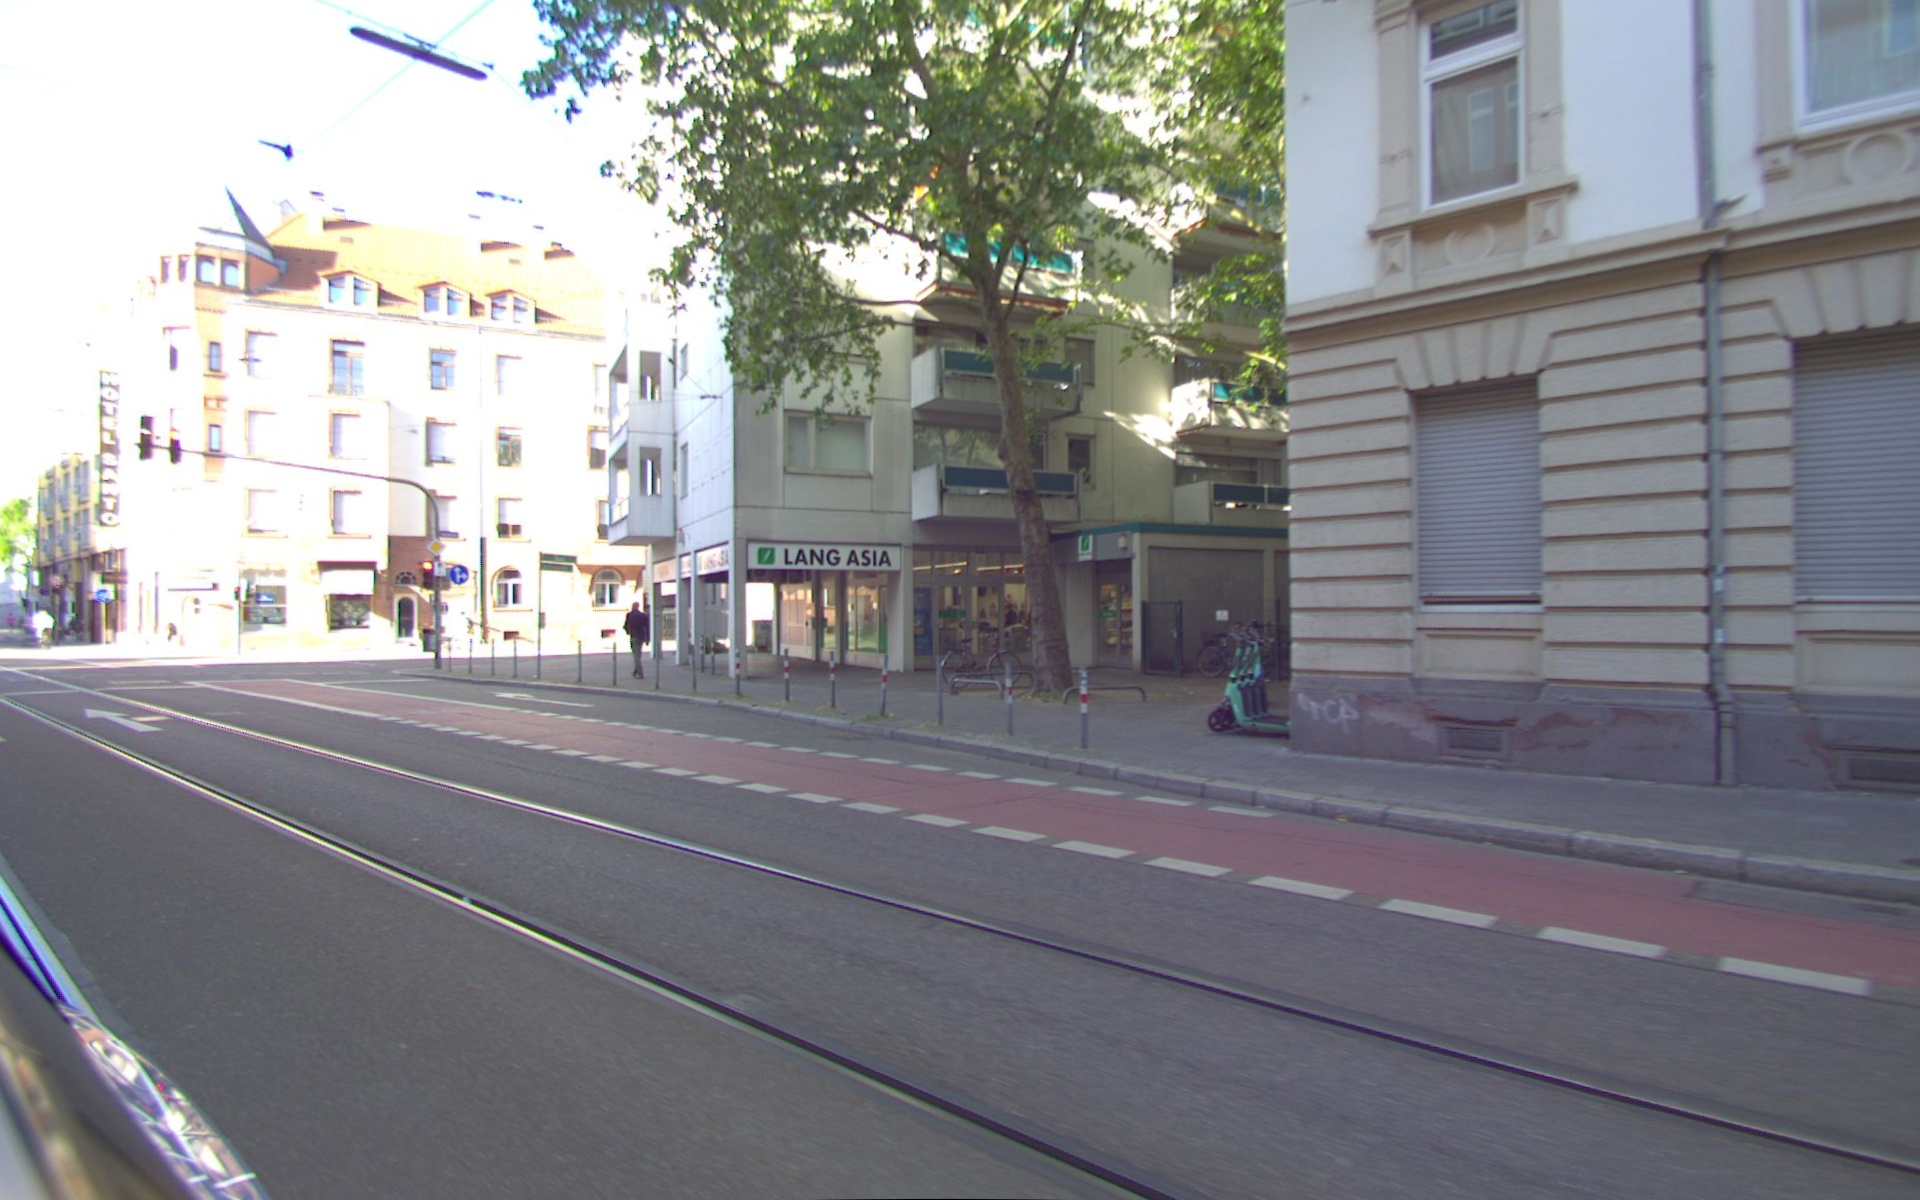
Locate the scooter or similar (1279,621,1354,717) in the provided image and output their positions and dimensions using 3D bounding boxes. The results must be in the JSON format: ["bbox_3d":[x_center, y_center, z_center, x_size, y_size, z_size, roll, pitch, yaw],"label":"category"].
[{"bbox_3d":[5.006,0.932,14.173,0.481,1.239,1.364,-1,0,43],"label":"scooter or similar"}]

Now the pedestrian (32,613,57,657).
[{"bbox_3d":[-42.860,1.632,47.378,0.718,2.029,0.746,-1,0,41],"label":"pedestrian"}]

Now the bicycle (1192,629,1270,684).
[{"bbox_3d":[5.746,1.183,21.538,0.502,1.102,1.625,-1,0,-38],"label":"bicycle"}]

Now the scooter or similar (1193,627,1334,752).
[{"bbox_3d":[3.373,0.951,11.294,1.382,1.284,0.572,-1,0,41],"label":"scooter or similar"}]

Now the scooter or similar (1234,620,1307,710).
[{"bbox_3d":[4.573,0.925,14.878,0.481,1.239,1.364,-1,0,43],"label":"scooter or similar"}]

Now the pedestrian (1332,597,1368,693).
[{"bbox_3d":[7.114,0.814,18.466,0.394,1.719,0.484,0,0,-43],"label":"pedestrian"}]

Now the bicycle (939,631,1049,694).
[{"bbox_3d":[0.666,1.196,19.715,2.012,1.134,0.708,-1,0,-21],"label":"bicycle"}]

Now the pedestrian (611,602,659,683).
[{"bbox_3d":[-7.700,0.989,24.008,0.809,1.861,0.784,-1,0,44],"label":"pedestrian"}]
